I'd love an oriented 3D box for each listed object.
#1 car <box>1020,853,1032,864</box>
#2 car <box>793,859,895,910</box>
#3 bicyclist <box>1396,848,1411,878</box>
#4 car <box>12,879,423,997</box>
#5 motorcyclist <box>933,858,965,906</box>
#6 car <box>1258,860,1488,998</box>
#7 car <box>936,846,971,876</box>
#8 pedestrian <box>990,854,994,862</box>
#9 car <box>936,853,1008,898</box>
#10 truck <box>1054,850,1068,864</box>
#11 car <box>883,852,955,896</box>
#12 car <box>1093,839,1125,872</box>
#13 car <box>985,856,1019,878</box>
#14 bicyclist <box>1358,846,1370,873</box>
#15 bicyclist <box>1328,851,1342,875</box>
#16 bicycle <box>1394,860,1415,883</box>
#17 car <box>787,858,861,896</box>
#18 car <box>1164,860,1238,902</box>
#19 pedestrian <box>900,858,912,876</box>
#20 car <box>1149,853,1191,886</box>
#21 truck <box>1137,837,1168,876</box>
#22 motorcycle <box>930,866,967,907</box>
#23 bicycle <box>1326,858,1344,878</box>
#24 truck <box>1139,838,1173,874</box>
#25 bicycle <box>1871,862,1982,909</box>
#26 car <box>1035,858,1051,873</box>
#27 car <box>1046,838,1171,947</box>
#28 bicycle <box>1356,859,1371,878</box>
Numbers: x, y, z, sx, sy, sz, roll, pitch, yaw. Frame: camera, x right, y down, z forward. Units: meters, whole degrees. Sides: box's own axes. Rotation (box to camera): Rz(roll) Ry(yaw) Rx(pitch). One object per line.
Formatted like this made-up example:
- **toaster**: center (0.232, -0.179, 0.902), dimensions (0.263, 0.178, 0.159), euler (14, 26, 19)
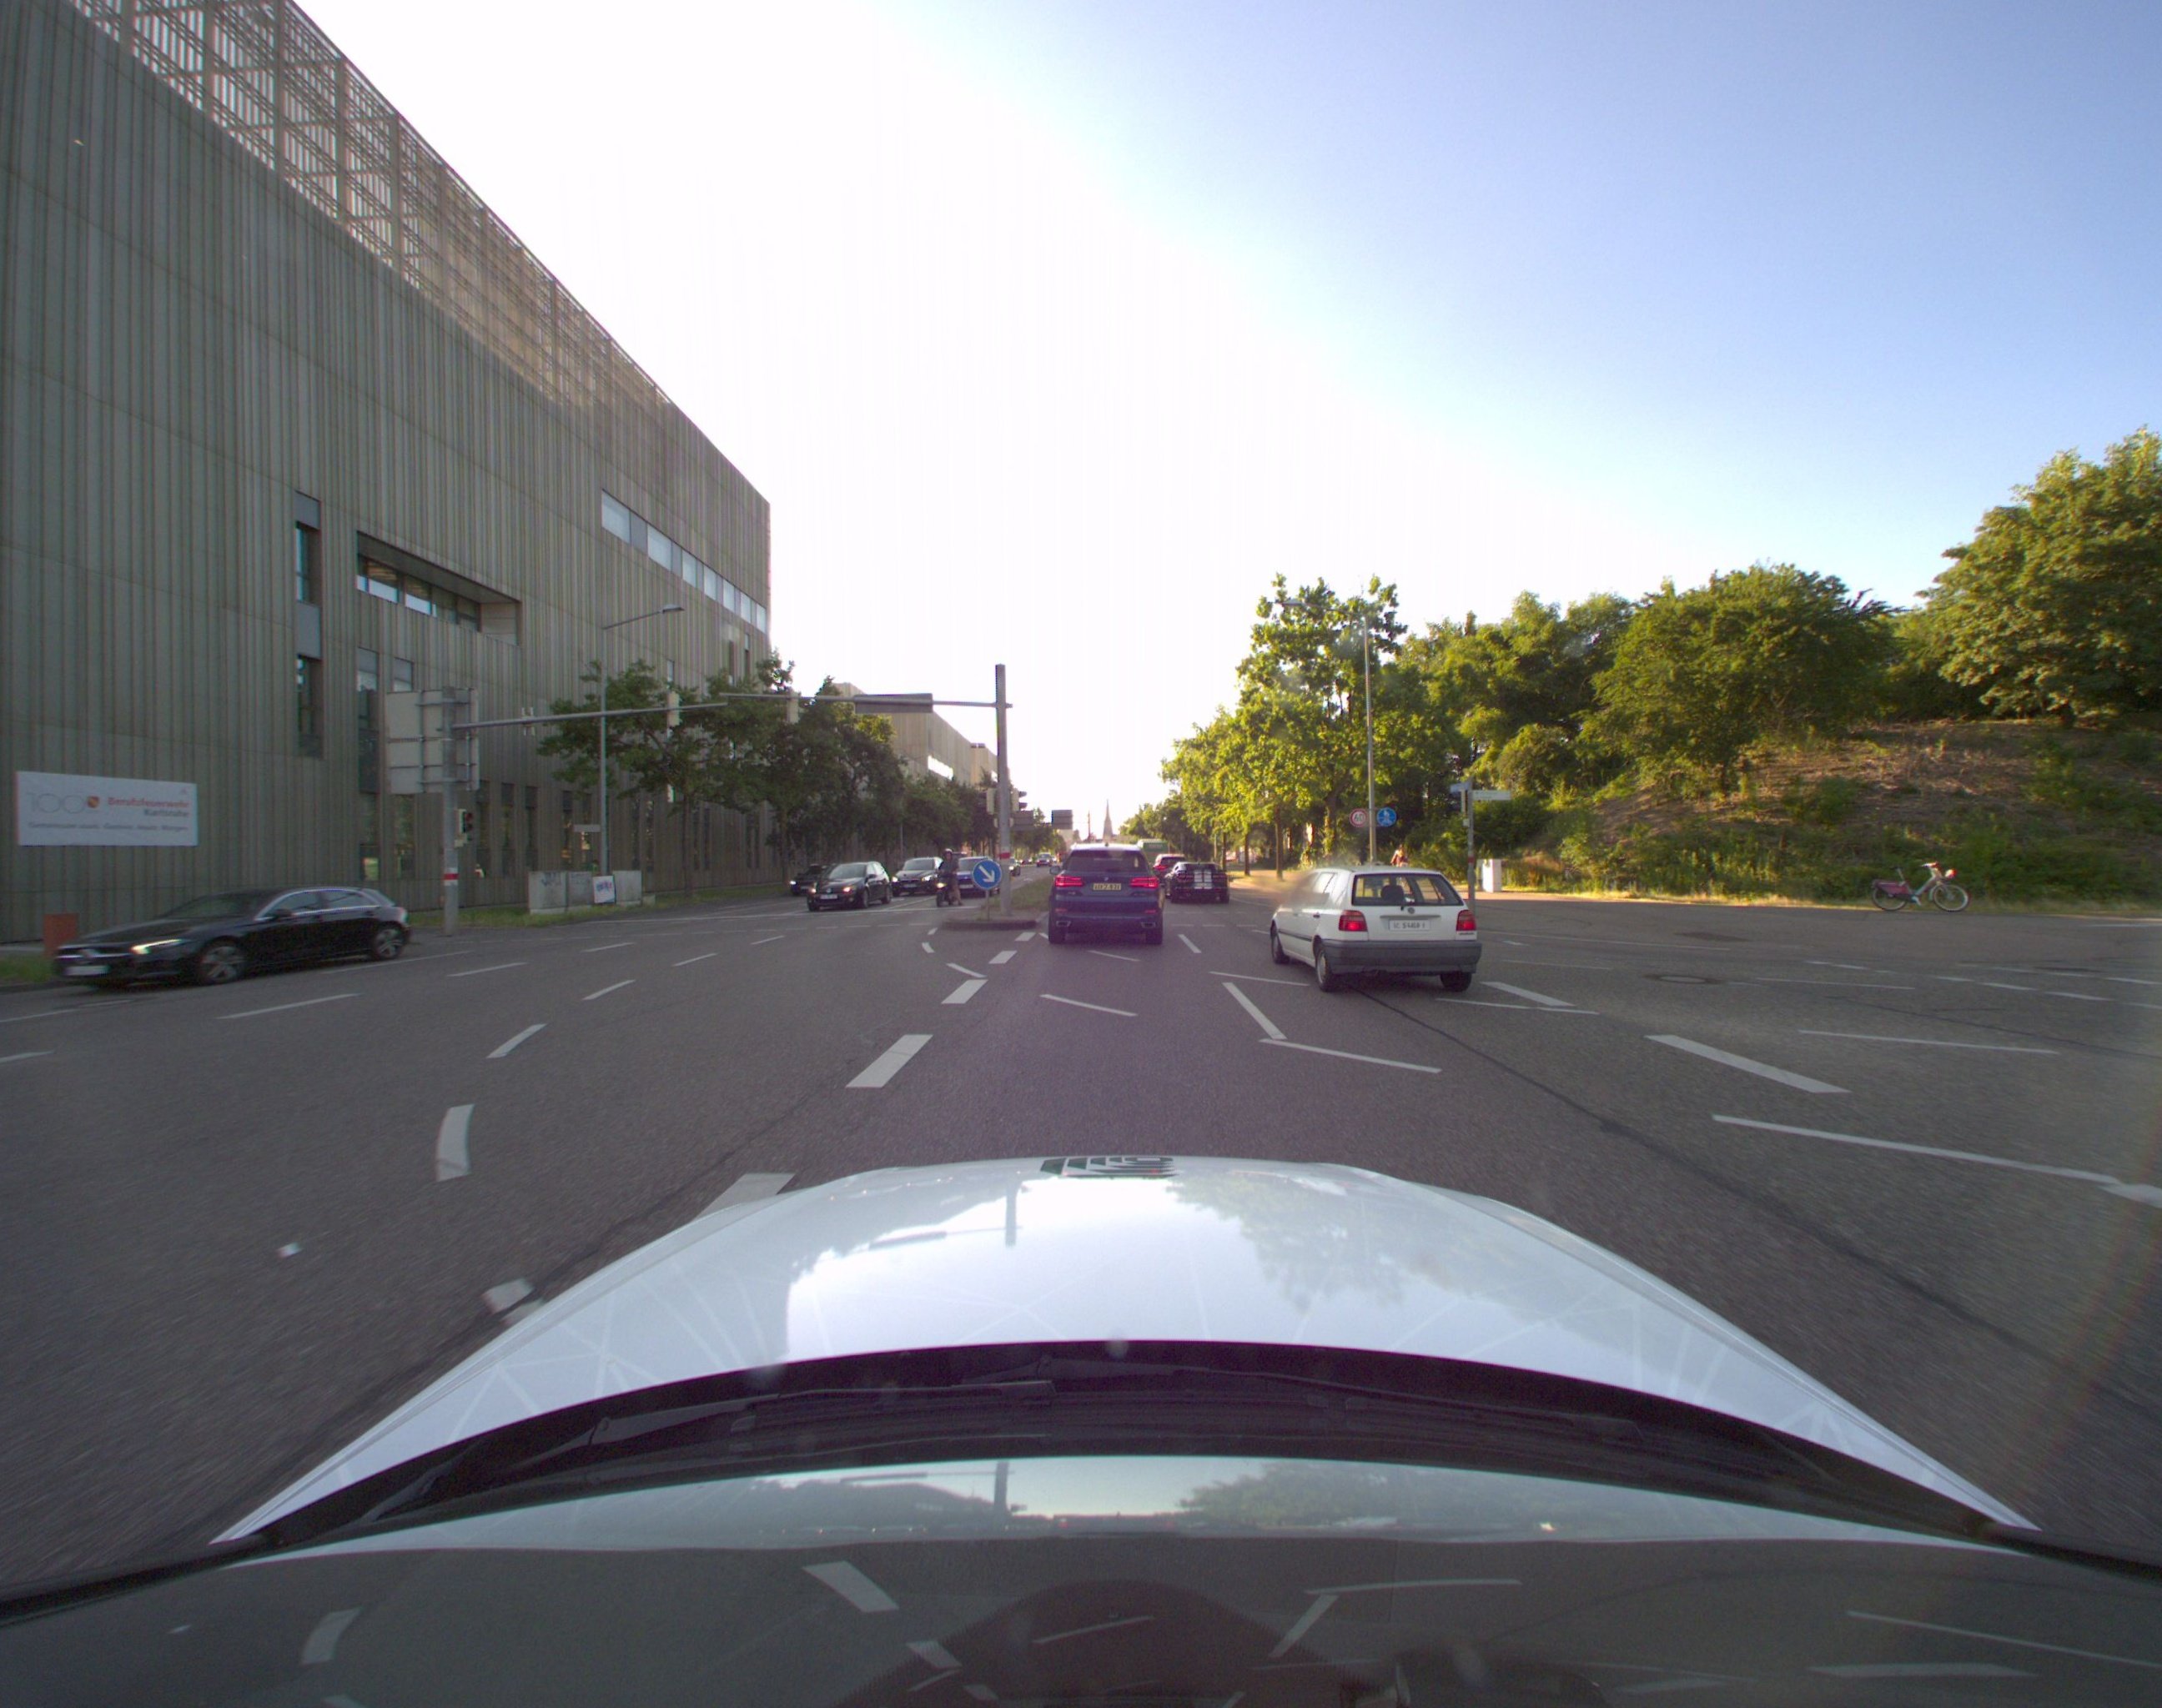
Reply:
- **car**: center (-9.553, 0.823, 141.623), dimensions (1.750, 1.705, 4.494), euler (-4, -1, 1)
- **car**: center (-7.459, 0.941, 26.113), dimensions (1.987, 1.475, 4.080), euler (1, -1, 1)
- **bicyclist**: center (13.262, 0.375, 33.491), dimensions (0.426, 1.233, 0.460), euler (-1, -1, 2)
- **car**: center (-13.575, 1.216, 13.323), dimensions (1.987, 1.400, 4.348), euler (-4, -1, 0)
- **motorcyclist**: center (-3.976, 0.823, 24.574), dimensions (0.796, 1.349, 1.272), euler (-3, 1, -5)
- **car**: center (3.476, 0.814, 10.486), dimensions (1.573, 1.413, 4.062), euler (1, -1, 1)
- **car**: center (-9.402, 0.499, 60.152), dimensions (1.788, 1.978, 3.994), euler (-4, 0, 0)
- **pedestrian**: center (-16.945, 0.687, 154.330), dimensions (0.624, 1.522, 0.719), euler (0, -1, 4)
- **car**: center (-3.965, 0.767, 30.128), dimensions (1.693, 1.452, 3.863), euler (-5, -1, 5)
- **truck**: center (-6.305, 0.924, 253.765), dimensions (3.976, 4.088, 11.445), euler (1, -1, 0)
- **car**: center (-6.783, 0.824, 34.597), dimensions (1.987, 1.592, 4.715), euler (-4, -1, 0)
- **car**: center (2.203, 0.162, 65.629), dimensions (2.132, 2.576, 5.081), euler (1, -1, -3)
- **car**: center (-5.963, 1.023, 61.984), dimensions (1.987, 1.452, 4.798), euler (-5, -1, 0)
- **bicyclist**: center (13.920, 0.281, 40.088), dimensions (0.426, 1.309, 0.460), euler (1, -1, 2)
- **bicyclist**: center (14.220, 0.487, 45.630), dimensions (0.541, 1.316, 0.836), euler (1, -1, 2)
- **bicycle**: center (13.282, 0.735, 33.441), dimensions (0.436, 0.914, 1.027), euler (-2, -1, 2)
- **car**: center (-12.470, 1.085, 39.829), dimensions (1.987, 1.592, 4.715), euler (-4, -1, 0)
- **car**: center (3.916, 0.868, 27.208), dimensions (1.986, 1.295, 4.001), euler (1, -1, 2)
- **pedestrian**: center (-19.663, 1.497, 91.453), dimensions (1.014, 2.014, 0.962), euler (1, -1, 2)
- **car**: center (4.377, 0.767, 40.454), dimensions (1.789, 1.559, 4.001), euler (1, -1, 2)
- **truck**: center (5.135, 0.213, 59.130), dimensions (1.988, 2.669, 4.001), euler (1, -1, 2)
- **motorcycle**: center (-3.966, 0.951, 24.550), dimensions (0.838, 1.076, 2.397), euler (-3, 0, -5)
- **bicycle**: center (14.223, 0.779, 45.658), dimensions (0.562, 1.112, 1.622), euler (1, -1, 2)
- **truck**: center (4.973, 0.186, 54.433), dimensions (1.988, 2.315, 4.001), euler (1, -1, 2)
- **bicycle**: center (19.091, 0.721, 18.421), dimensions (1.649, 0.991, 0.581), euler (-2, 2, 18)
- **car**: center (-4.903, 1.484, 105.469), dimensions (1.750, 1.777, 4.494), euler (-4, -1, 1)
- **car**: center (0.525, 0.656, 15.351), dimensions (1.986, 1.734, 4.534), euler (1, -1, 2)
- **bicycle**: center (13.908, 0.702, 40.100), dimensions (0.436, 0.914, 1.027), euler (1, -1, 2)
